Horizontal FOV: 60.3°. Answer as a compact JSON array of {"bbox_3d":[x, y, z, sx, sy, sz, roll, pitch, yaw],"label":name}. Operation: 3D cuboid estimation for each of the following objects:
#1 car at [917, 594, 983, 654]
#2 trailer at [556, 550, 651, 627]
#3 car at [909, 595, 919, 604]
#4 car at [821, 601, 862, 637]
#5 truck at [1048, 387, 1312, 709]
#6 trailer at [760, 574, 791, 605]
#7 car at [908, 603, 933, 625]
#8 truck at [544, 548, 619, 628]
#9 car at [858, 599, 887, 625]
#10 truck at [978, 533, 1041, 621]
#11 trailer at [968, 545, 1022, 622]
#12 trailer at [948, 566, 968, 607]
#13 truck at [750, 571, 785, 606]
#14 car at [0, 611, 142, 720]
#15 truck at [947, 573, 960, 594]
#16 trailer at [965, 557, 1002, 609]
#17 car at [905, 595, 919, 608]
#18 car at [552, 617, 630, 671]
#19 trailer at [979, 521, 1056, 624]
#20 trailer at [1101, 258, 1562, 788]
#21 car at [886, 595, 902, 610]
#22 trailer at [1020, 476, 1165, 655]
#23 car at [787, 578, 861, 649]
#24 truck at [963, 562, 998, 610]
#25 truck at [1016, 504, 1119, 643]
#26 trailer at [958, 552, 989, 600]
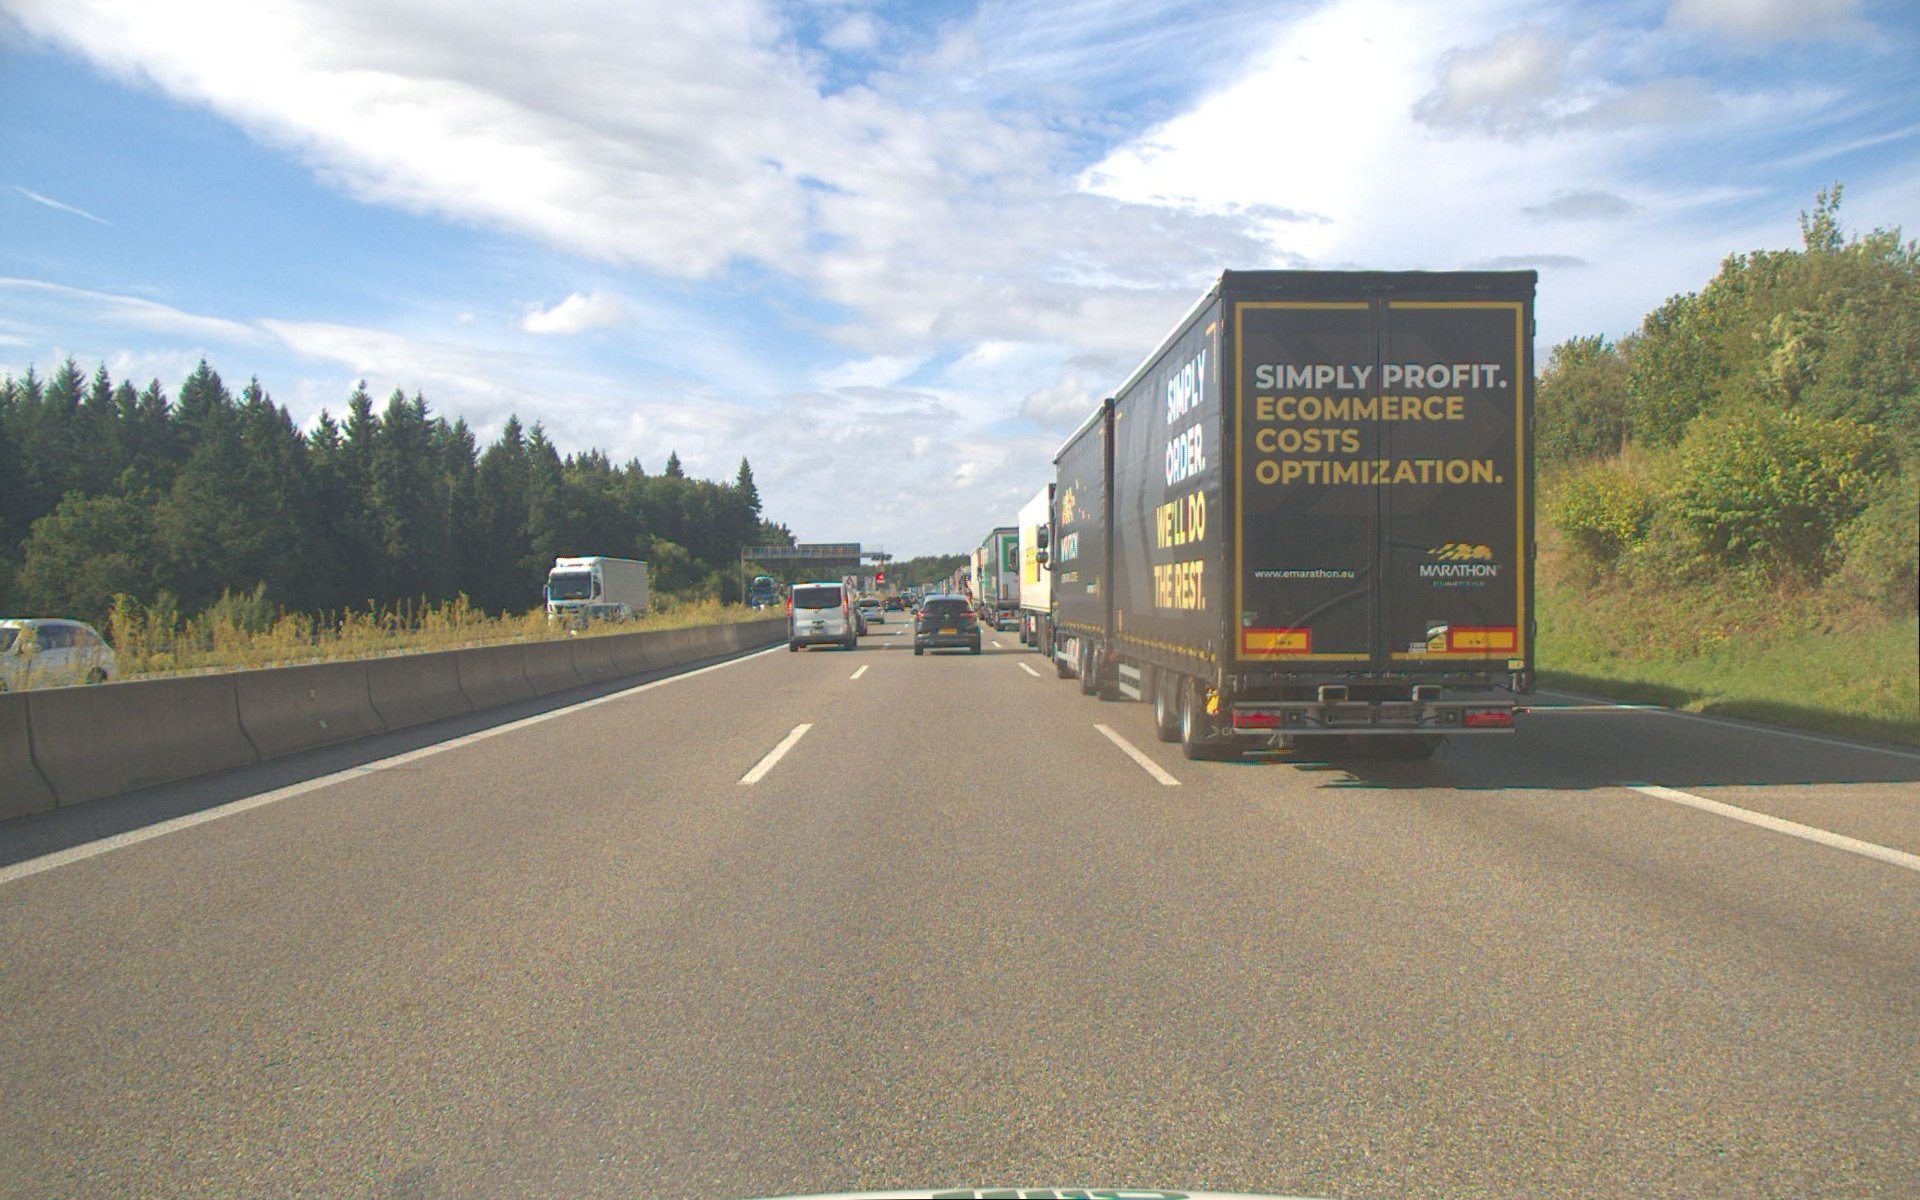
[{"bbox_3d":[-0.284,0.615,44.760,1.662,1.509,4.159,1,0,-1],"label":"car"},{"bbox_3d":[-20.168,-0.606,94.446,2.775,4.062,13.545,-1,0,-1],"label":"trailer"},{"bbox_3d":[-6.747,-0.115,241.794,1.333,1.324,3.084,1,0,-1],"label":"car"},{"bbox_3d":[-4.796,0.762,67.245,1.469,1.420,3.475,0,0,-1],"label":"car"},{"bbox_3d":[3.126,-0.664,26.539,2.685,4.109,10.201,1,0,-1],"label":"truck"},{"bbox_3d":[-21.965,-1.238,197.433,2.742,3.590,8.951,-2,0,-1],"label":"trailer"},{"bbox_3d":[-2.616,0.909,108.656,1.549,1.420,3.206,1,0,-2],"label":"car"},{"bbox_3d":[-20.009,-0.625,87.734,2.762,4.045,5.831,-1,0,-2],"label":"truck"},{"bbox_3d":[-4.976,0.678,94.306,1.469,1.420,3.475,1,0,-1],"label":"car"},{"bbox_3d":[2.265,-1.038,78.295,2.593,3.936,6.995,-2,0,-1],"label":"truck"},{"bbox_3d":[1.961,-0.935,97.823,2.648,4.153,12.942,-2,0,-1],"label":"trailer"},{"bbox_3d":[-0.205,-1.479,183.976,2.106,4.333,8.439,-2,0,0],"label":"trailer"},{"bbox_3d":[-21.727,-1.223,187.351,2.774,3.753,11.129,-2,0,-1],"label":"truck"},{"bbox_3d":[-14.729,0.955,25.440,1.879,1.502,4.933,1,0,-1],"label":"car"},{"bbox_3d":[-1.045,-2.464,254.186,1.953,3.106,4.981,1,0,0],"label":"truck"},{"bbox_3d":[1.710,-1.257,127.058,2.489,3.717,10.625,-2,0,-1],"label":"trailer"},{"bbox_3d":[-5.196,0.128,178.767,1.405,1.333,3.532,1,0,-1],"label":"car"},{"bbox_3d":[-12.678,1.481,56.983,1.778,1.723,4.250,1,0,-1],"label":"car"},{"bbox_3d":[2.331,-1.045,71.203,2.607,3.936,13.392,-2,0,-1],"label":"trailer"},{"bbox_3d":[3.245,-0.630,17.127,2.660,4.030,8.710,1,0,-1],"label":"trailer"},{"bbox_3d":[-6.123,0.246,154.194,1.405,1.333,3.532,1,0,-1],"label":"car"},{"bbox_3d":[3.237,-0.776,43.913,2.734,4.008,13.068,-1,0,0],"label":"trailer"},{"bbox_3d":[-4.123,0.405,50.766,1.893,2.013,5.097,1,0,-1],"label":"car"},{"bbox_3d":[1.623,-1.104,133.710,2.482,3.646,6.728,-2,0,-1],"label":"truck"},{"bbox_3d":[3.225,-0.762,51.135,2.744,4.008,5.825,-1,0,0],"label":"truck"},{"bbox_3d":[1.260,-2.274,159.967,2.745,4.318,11.056,-2,0,0],"label":"trailer"}]
